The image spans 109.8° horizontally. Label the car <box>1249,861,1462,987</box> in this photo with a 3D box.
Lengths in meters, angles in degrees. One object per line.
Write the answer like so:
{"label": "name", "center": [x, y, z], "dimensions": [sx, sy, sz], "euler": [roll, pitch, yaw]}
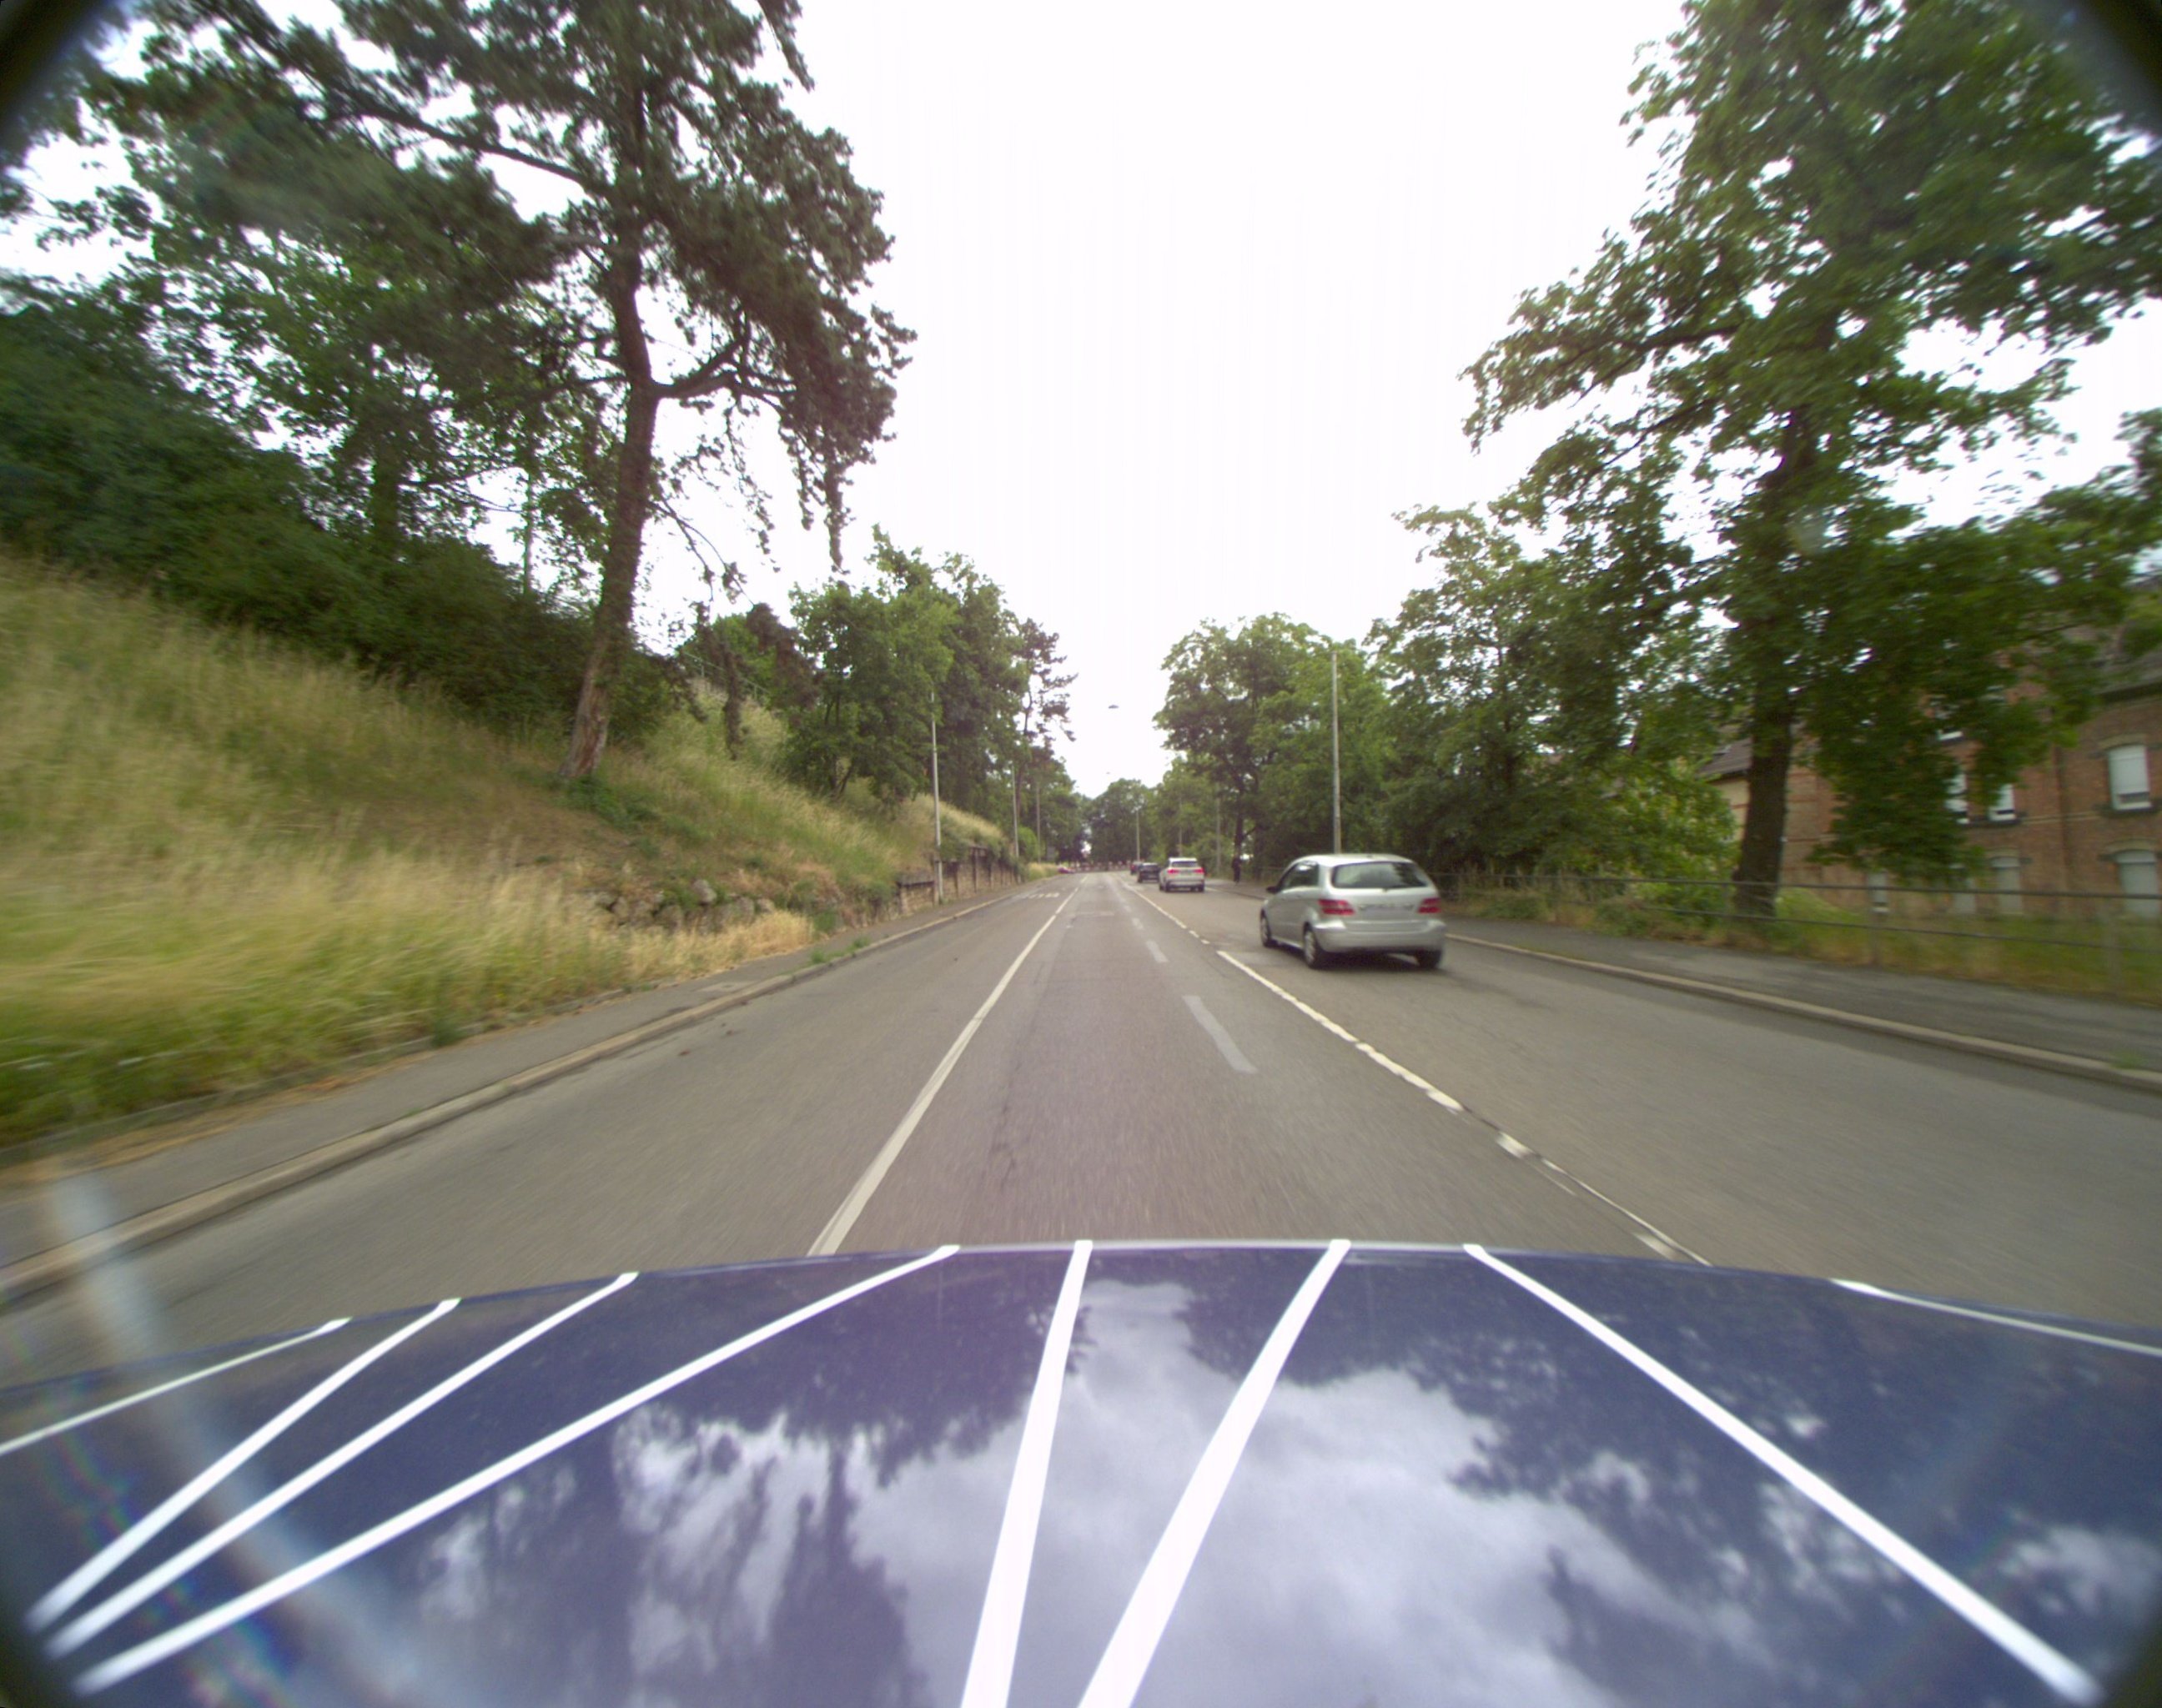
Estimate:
{"label": "car", "center": [3.964, 0.917, 11.819], "dimensions": [1.788, 1.565, 4.281], "euler": [-1, 0, 0]}

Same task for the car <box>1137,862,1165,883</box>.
{"label": "car", "center": [5.110, 1.338, 55.867], "dimensions": [1.717, 1.419, 4.139], "euler": [-1, -1, 0]}

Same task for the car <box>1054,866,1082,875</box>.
{"label": "car", "center": [-2.135, 2.697, 124.454], "dimensions": [4.268, 1.565, 1.793], "euler": [-1, 0, 39]}

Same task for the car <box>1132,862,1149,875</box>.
{"label": "car", "center": [6.832, 1.648, 87.167], "dimensions": [1.673, 1.438, 3.689], "euler": [-1, -1, 2]}

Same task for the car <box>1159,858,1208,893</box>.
{"label": "car", "center": [5.273, 1.094, 39.551], "dimensions": [2.000, 1.673, 4.664], "euler": [-1, -1, 1]}

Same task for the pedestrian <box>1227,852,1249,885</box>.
{"label": "pedestrian", "center": [8.788, 0.835, 42.621], "dimensions": [0.790, 1.763, 1.209], "euler": [-5, -1, -1]}
